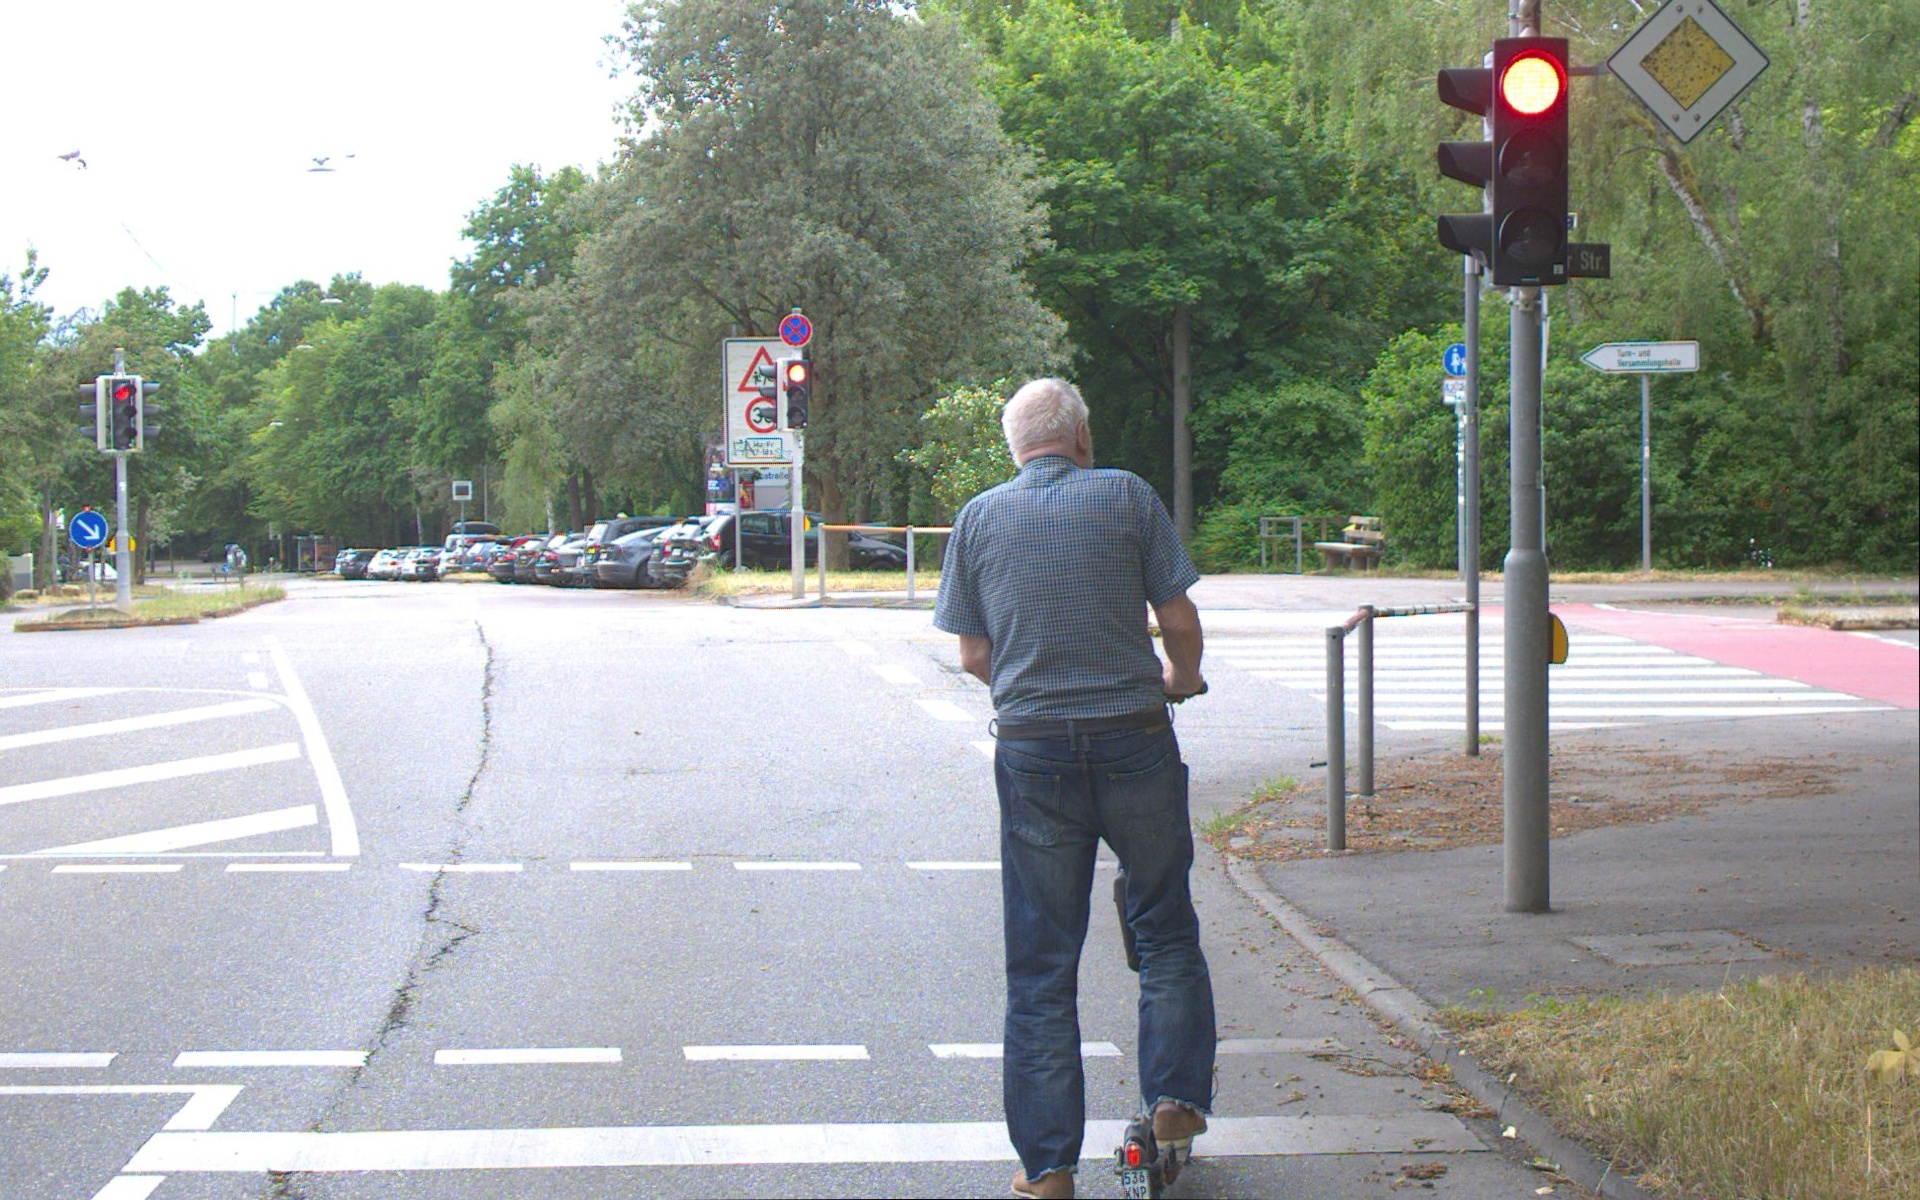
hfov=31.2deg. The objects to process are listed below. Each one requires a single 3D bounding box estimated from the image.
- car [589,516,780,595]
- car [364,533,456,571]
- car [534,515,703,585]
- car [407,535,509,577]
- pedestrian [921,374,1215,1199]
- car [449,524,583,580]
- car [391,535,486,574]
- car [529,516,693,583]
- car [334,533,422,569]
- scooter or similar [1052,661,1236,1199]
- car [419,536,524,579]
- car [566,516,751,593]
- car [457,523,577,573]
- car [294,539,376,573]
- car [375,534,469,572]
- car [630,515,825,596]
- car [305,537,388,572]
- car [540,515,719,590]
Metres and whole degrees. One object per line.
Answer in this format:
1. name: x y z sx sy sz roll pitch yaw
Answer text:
1. car: -6.155 -1.007 76.762 3.841 1.605 1.728 -3 2 -24
2. car: -25.396 -2.205 158.774 3.840 1.605 1.729 -3 2 -23
3. car: -8.606 -1.273 86.650 3.840 1.605 1.729 -3 2 -23
4. car: -20.857 -1.819 142.769 3.840 1.605 1.729 -3 2 -23
5. pedestrian: 0.246 0.422 7.569 0.573 1.807 0.420 -1 1 8
6. car: -14.060 -1.531 108.926 3.840 1.605 1.729 -3 2 -23
7. car: -23.379 -2.046 154.072 3.840 1.605 1.729 -3 2 -23
8. car: -9.046 -1.319 89.062 3.840 1.605 1.729 -3 2 -23
9. car: -28.120 -2.377 165.968 3.840 1.605 1.729 -3 2 -23
10. scooter or similar: 0.411 0.747 7.398 0.282 1.174 1.177 -1 1 8
11. car: -19.752 -1.739 139.094 3.840 1.605 1.729 -3 2 -23
12. car: -6.957 -1.059 79.303 3.840 1.605 1.729 -3 2 -23
13. car: -15.707 -1.844 121.892 3.840 1.605 1.729 -3 2 -23
14. car: -32.354 -2.299 177.974 3.840 1.605 1.729 -3 2 -23
15. car: -24.453 -2.144 156.204 3.840 1.605 1.729 -3 2 -23
16. car: -5.054 -0.975 74.791 3.840 1.605 1.729 -2 2 -21
17. car: -31.332 -2.327 175.636 3.840 1.605 1.729 -3 2 -23
18. car: -7.819 -1.138 81.337 3.840 1.605 1.729 -3 2 -23
